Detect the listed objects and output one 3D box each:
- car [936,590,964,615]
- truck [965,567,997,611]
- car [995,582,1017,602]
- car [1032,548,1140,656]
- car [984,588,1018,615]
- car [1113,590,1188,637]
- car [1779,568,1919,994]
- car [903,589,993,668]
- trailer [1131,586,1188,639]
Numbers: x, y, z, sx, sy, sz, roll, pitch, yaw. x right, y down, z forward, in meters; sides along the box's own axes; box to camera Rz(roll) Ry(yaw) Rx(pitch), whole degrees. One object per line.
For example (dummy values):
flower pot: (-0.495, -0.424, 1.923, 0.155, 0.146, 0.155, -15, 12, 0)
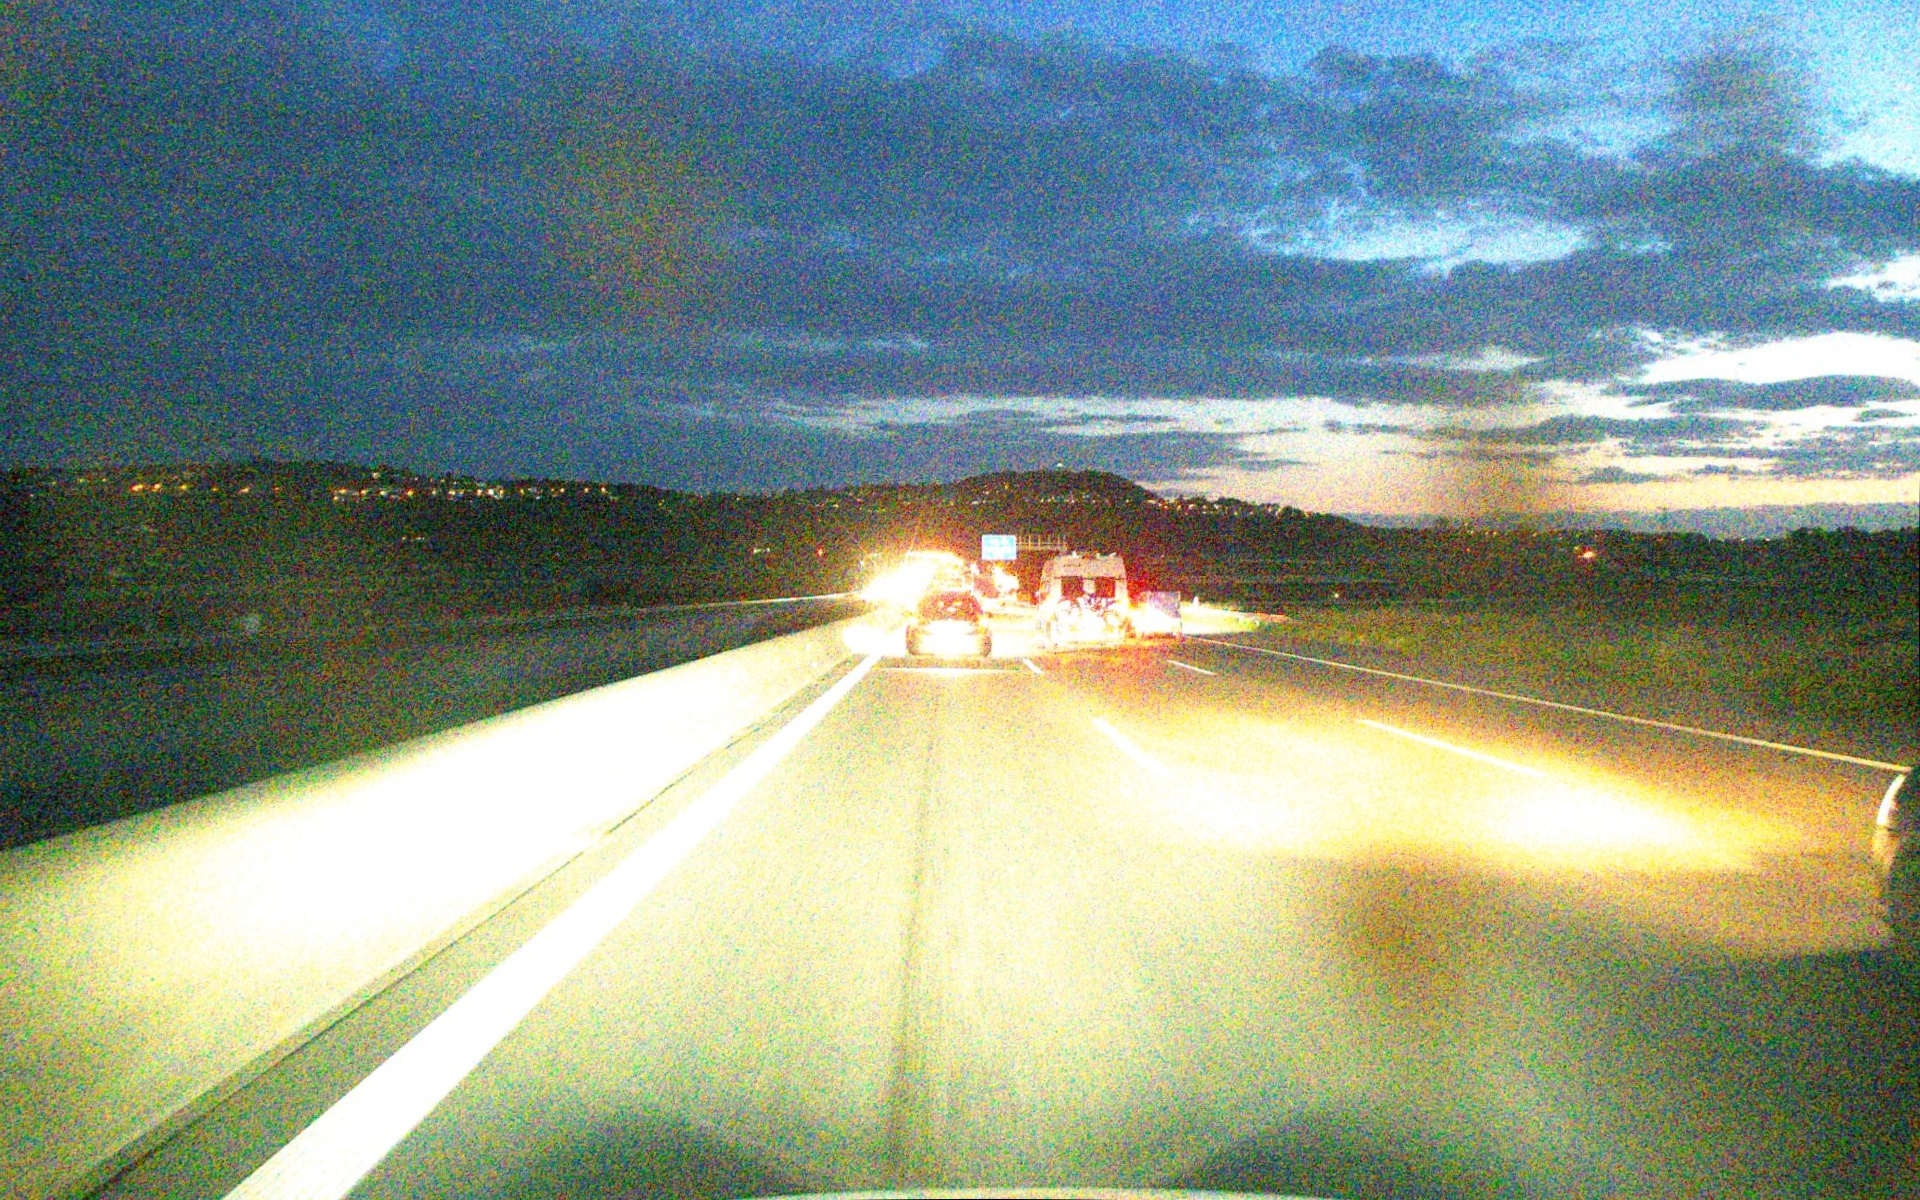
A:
car: (-0.640, 0.157, 103.829, 1.709, 1.465, 4.367, -1, 1, 0)
truck: (1.955, -1.016, 157.369, 2.725, 4.024, 7.990, -1, 0, -2)
car: (5.149, -0.938, 186.712, 2.303, 2.112, 4.723, -1, 1, 0)
car: (3.156, -0.005, 42.744, 2.303, 2.579, 5.701, -1, 1, 0)
car: (2.911, 0.086, 119.753, 2.303, 1.947, 4.722, -1, 0, 0)
car: (6.732, 0.454, 58.982, 2.118, 1.591, 4.722, 0, 1, 0)
car: (4.488, 0.698, 5.108, 1.613, 1.624, 4.509, 0, 1, -1)
car: (-0.240, 0.544, 34.496, 1.757, 1.494, 3.773, 1, 1, 0)
trailer: (6.655, 0.395, 55.312, 1.534, 1.723, 2.820, 0, 0, -1)
